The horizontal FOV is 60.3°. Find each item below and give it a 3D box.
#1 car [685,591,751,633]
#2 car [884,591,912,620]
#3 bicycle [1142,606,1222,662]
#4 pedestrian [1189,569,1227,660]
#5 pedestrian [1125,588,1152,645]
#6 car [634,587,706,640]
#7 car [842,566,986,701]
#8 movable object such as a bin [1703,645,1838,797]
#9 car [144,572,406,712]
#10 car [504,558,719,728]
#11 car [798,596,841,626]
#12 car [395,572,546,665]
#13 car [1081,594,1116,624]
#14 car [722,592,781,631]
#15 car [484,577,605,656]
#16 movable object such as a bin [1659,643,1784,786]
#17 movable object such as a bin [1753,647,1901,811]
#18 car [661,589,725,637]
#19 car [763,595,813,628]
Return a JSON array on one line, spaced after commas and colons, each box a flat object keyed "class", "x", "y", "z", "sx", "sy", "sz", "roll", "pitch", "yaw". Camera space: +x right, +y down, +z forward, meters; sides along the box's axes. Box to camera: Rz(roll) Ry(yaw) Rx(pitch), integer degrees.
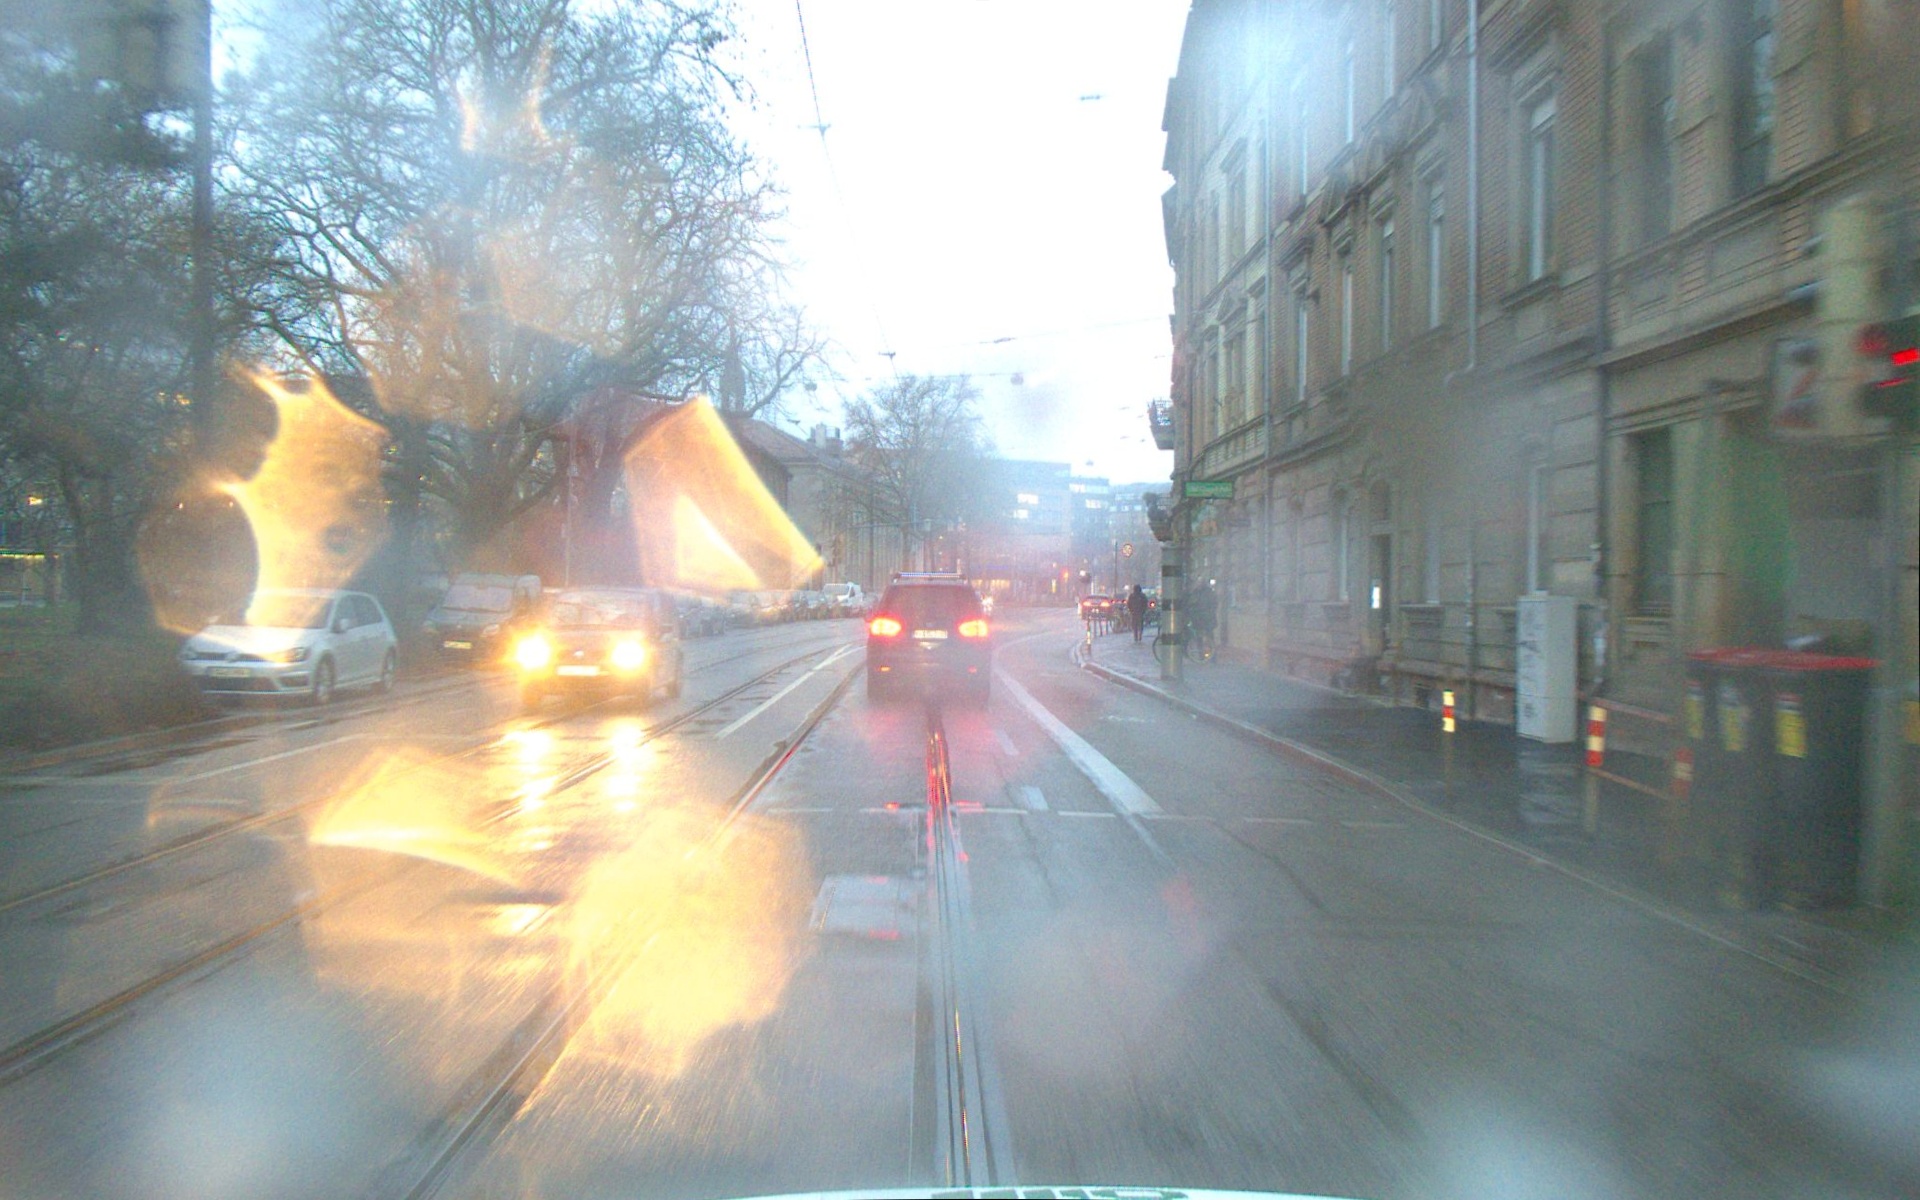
[{"class": "car", "x": -10.029, "y": 0.480, "z": 68.761, "sx": 1.943, "sy": 1.644, "sz": 4.430, "roll": 1, "pitch": 0, "yaw": 2}, {"class": "car", "x": -4.631, "y": 0.409, "z": 123.955, "sx": 1.953, "sy": 2.049, "sz": 3.999, "roll": 1, "pitch": 0, "yaw": -1}, {"class": "bicycle", "x": 4.824, "y": 0.728, "z": 36.154, "sx": 0.781, "sy": 1.164, "sz": 2.230, "roll": 1, "pitch": 0, "yaw": -20}, {"class": "pedestrian", "x": 5.451, "y": 0.316, "z": 36.379, "sx": 0.701, "sy": 1.987, "sz": 0.657, "roll": 1, "pitch": -1, "yaw": -1}, {"class": "pedestrian", "x": 5.712, "y": 0.525, "z": 53.033, "sx": 0.756, "sy": 1.806, "sz": 0.684, "roll": 1, "pitch": -1, "yaw": -1}, {"class": "car", "x": -9.470, "y": 0.429, "z": 54.275, "sx": 1.945, "sy": 1.644, "sz": 4.424, "roll": 1, "pitch": 0, "yaw": -5}, {"class": "car", "x": -0.607, "y": 0.465, "z": 25.080, "sx": 1.952, "sy": 1.874, "sz": 4.001, "roll": 1, "pitch": 0, "yaw": 1}, {"class": "movable object such as a bin", "x": 6.010, "y": 0.884, "z": 12.297, "sx": 0.627, "sy": 1.073, "sz": 0.744, "roll": 1, "pitch": 0, "yaw": -1}, {"class": "car", "x": -8.899, "y": 0.509, "z": 21.926, "sx": 1.945, "sy": 1.644, "sz": 4.424, "roll": 1, "pitch": 0, "yaw": -5}, {"class": "car", "x": -4.544, "y": 0.534, "z": 22.186, "sx": 1.952, "sy": 2.049, "sz": 4.000, "roll": 1, "pitch": 0, "yaw": 1}, {"class": "car", "x": -8.026, "y": 0.623, "z": 94.596, "sx": 1.943, "sy": 1.644, "sz": 4.430, "roll": 1, "pitch": 0, "yaw": 1}, {"class": "car", "x": -9.391, "y": 0.337, "z": 32.111, "sx": 1.945, "sy": 1.644, "sz": 4.424, "roll": 1, "pitch": 0, "yaw": -5}, {"class": "car", "x": 8.701, "y": 0.542, "z": 104.432, "sx": 1.952, "sy": 1.874, "sz": 4.001, "roll": 1, "pitch": 0, "yaw": 1}, {"class": "car", "x": -9.433, "y": 0.516, "z": 75.007, "sx": 1.943, "sy": 1.644, "sz": 4.430, "roll": 1, "pitch": 0, "yaw": 2}, {"class": "car", "x": -9.256, "y": 0.361, "z": 37.221, "sx": 1.945, "sy": 1.644, "sz": 4.424, "roll": 1, "pitch": 0, "yaw": -5}, {"class": "movable object such as a bin", "x": 6.002, "y": 0.887, "z": 13.061, "sx": 0.627, "sy": 1.073, "sz": 0.744, "roll": 1, "pitch": 0, "yaw": -1}, {"class": "movable object such as a bin", "x": 6.026, "y": 0.881, "z": 11.529, "sx": 0.627, "sy": 1.073, "sz": 0.744, "roll": 1, "pitch": 0, "yaw": -1}, {"class": "car", "x": -9.621, "y": 0.450, "z": 59.924, "sx": 1.945, "sy": 1.644, "sz": 4.424, "roll": 1, "pitch": 0, "yaw": -5}, {"class": "car", "x": -8.924, "y": 0.572, "z": 86.149, "sx": 1.942, "sy": 1.644, "sz": 4.430, "roll": 1, "pitch": 0, "yaw": 2}]
